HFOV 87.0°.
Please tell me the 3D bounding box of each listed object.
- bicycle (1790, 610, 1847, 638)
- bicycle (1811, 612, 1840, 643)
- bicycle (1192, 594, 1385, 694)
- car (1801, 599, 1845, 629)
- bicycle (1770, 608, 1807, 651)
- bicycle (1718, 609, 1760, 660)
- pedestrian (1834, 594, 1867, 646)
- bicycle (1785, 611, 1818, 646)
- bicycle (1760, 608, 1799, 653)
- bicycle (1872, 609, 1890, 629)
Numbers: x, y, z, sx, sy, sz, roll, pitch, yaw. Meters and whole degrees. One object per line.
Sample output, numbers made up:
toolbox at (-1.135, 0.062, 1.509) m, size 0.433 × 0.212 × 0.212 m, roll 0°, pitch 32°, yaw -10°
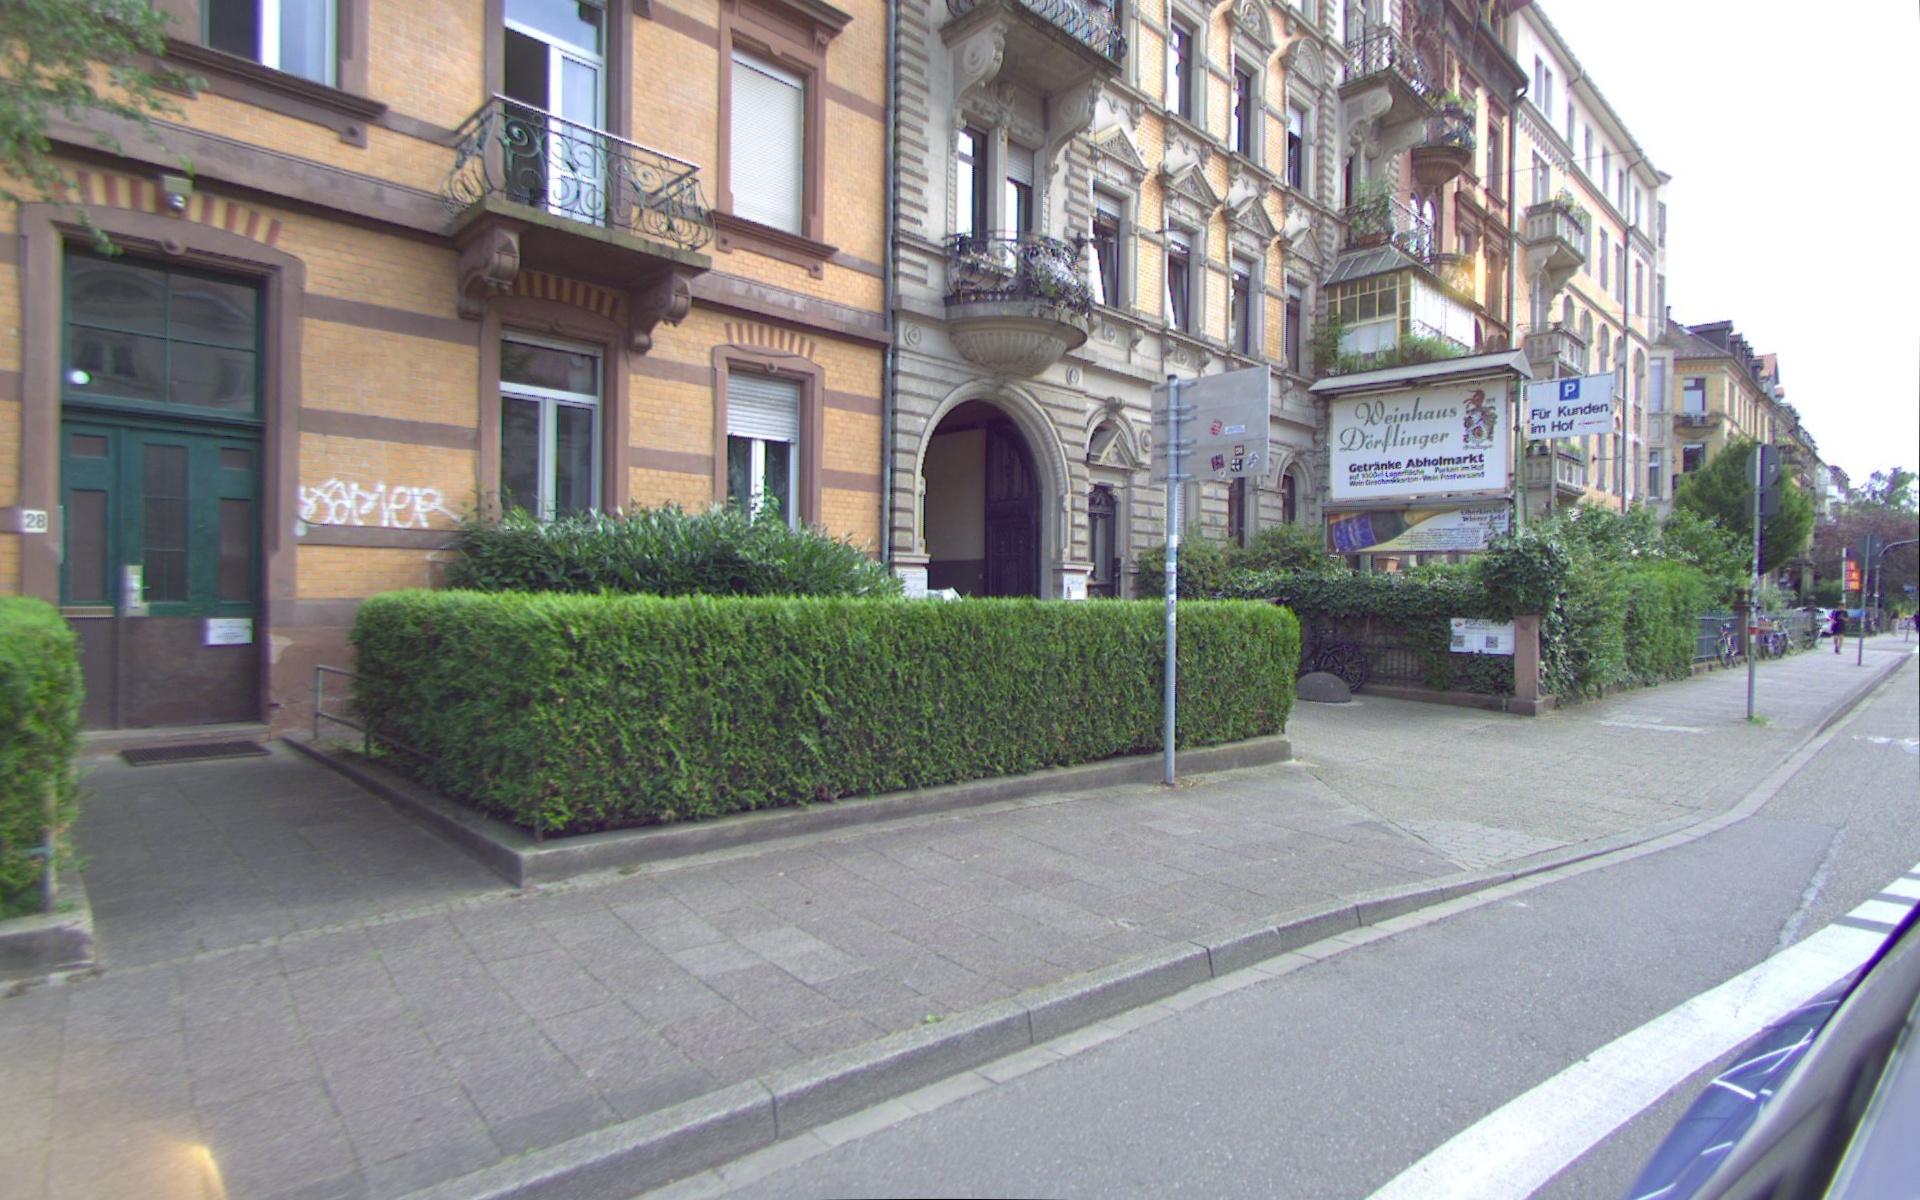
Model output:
bicycle at (35.883, 0.981, 42.303) m, size 1.838 × 1.127 × 0.631 m, roll 1°, pitch 0°, yaw -1°
bicycle at (29.941, 0.932, 35.014) m, size 0.579 × 0.994 × 1.645 m, roll 6°, pitch 4°, yaw 44°
bicycle at (4.759, 0.589, 14.841) m, size 2.624 × 1.328 × 0.758 m, roll 1°, pitch 0°, yaw 44°
car at (47.160, 0.749, 55.354) m, size 1.749 × 1.544 × 3.942 m, roll 1°, pitch 1°, yaw 40°
bicycle at (23.279, 0.810, 28.427) m, size 0.579 × 1.125 × 1.645 m, roll 6°, pitch 4°, yaw 44°
bicycle at (18.058, 0.788, 23.455) m, size 0.579 × 1.126 × 1.645 m, roll 1°, pitch 0°, yaw 44°
pedestrian at (28.824, 0.634, 32.746) m, size 0.821 × 1.644 × 0.731 m, roll 1°, pitch 0°, yaw -44°
bicycle at (25.776, 0.850, 30.989) m, size 0.579 × 0.994 × 1.645 m, roll 6°, pitch 4°, yaw 44°
bicycle at (21.911, 0.805, 27.050) m, size 0.579 × 1.125 × 1.645 m, roll 6°, pitch 4°, yaw 44°
bicycle at (52.740, 1.087, 57.924) m, size 1.843 × 1.127 × 0.629 m, roll 0°, pitch 0°, yaw -44°
